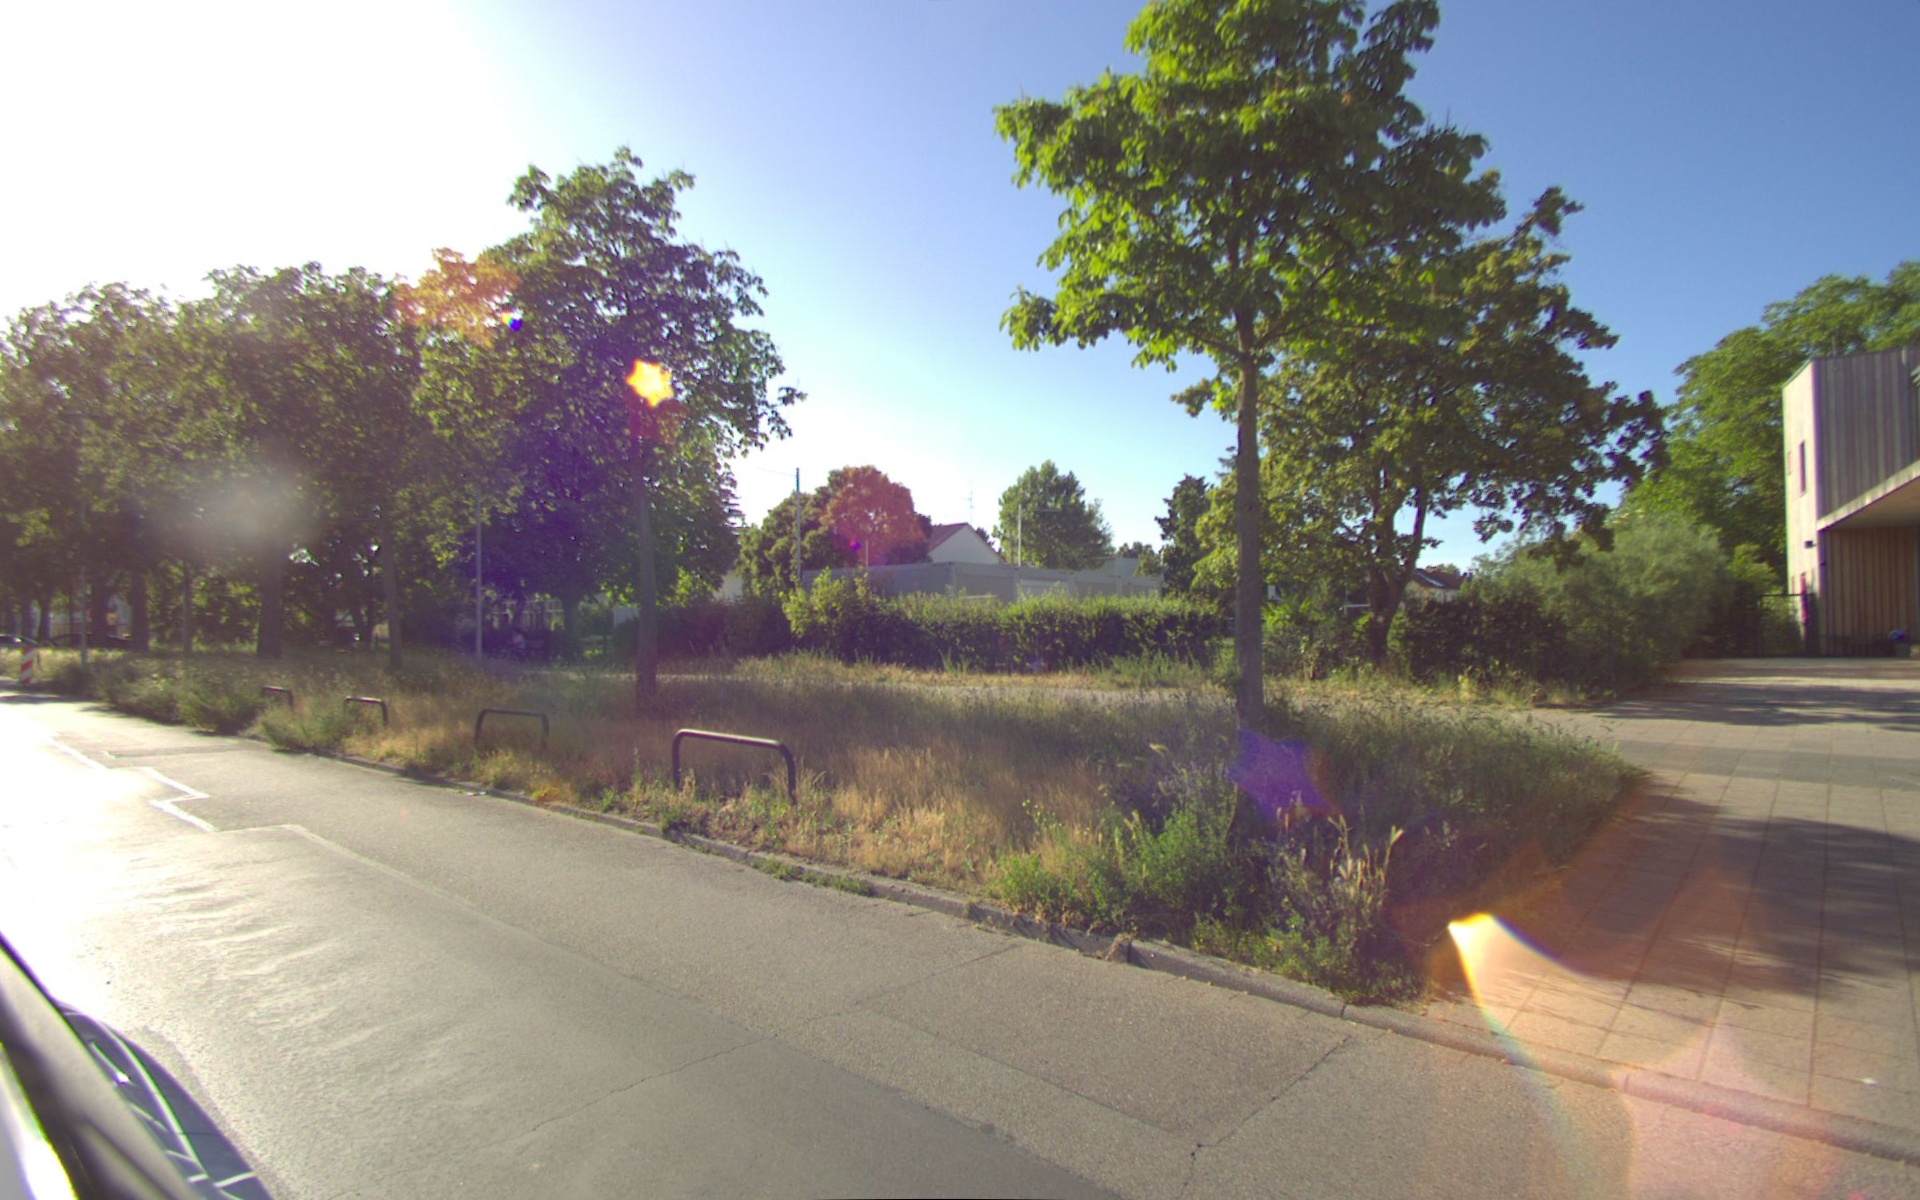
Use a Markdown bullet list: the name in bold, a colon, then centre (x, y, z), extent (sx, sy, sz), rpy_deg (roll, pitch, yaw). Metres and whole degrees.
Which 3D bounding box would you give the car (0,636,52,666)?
- **car**: centre (-53.168, 2.872, 56.025), extent (2.000, 1.573, 4.149), rpy_deg (-2, -1, 42)

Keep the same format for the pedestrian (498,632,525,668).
- **pedestrian**: centre (-15.051, 1.666, 33.961), extent (0.521, 1.166, 0.631), rpy_deg (-1, 1, 40)

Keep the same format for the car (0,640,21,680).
- **car**: centre (-40.550, 2.468, 40.244), extent (2.000, 1.573, 4.555), rpy_deg (-2, -1, 42)
